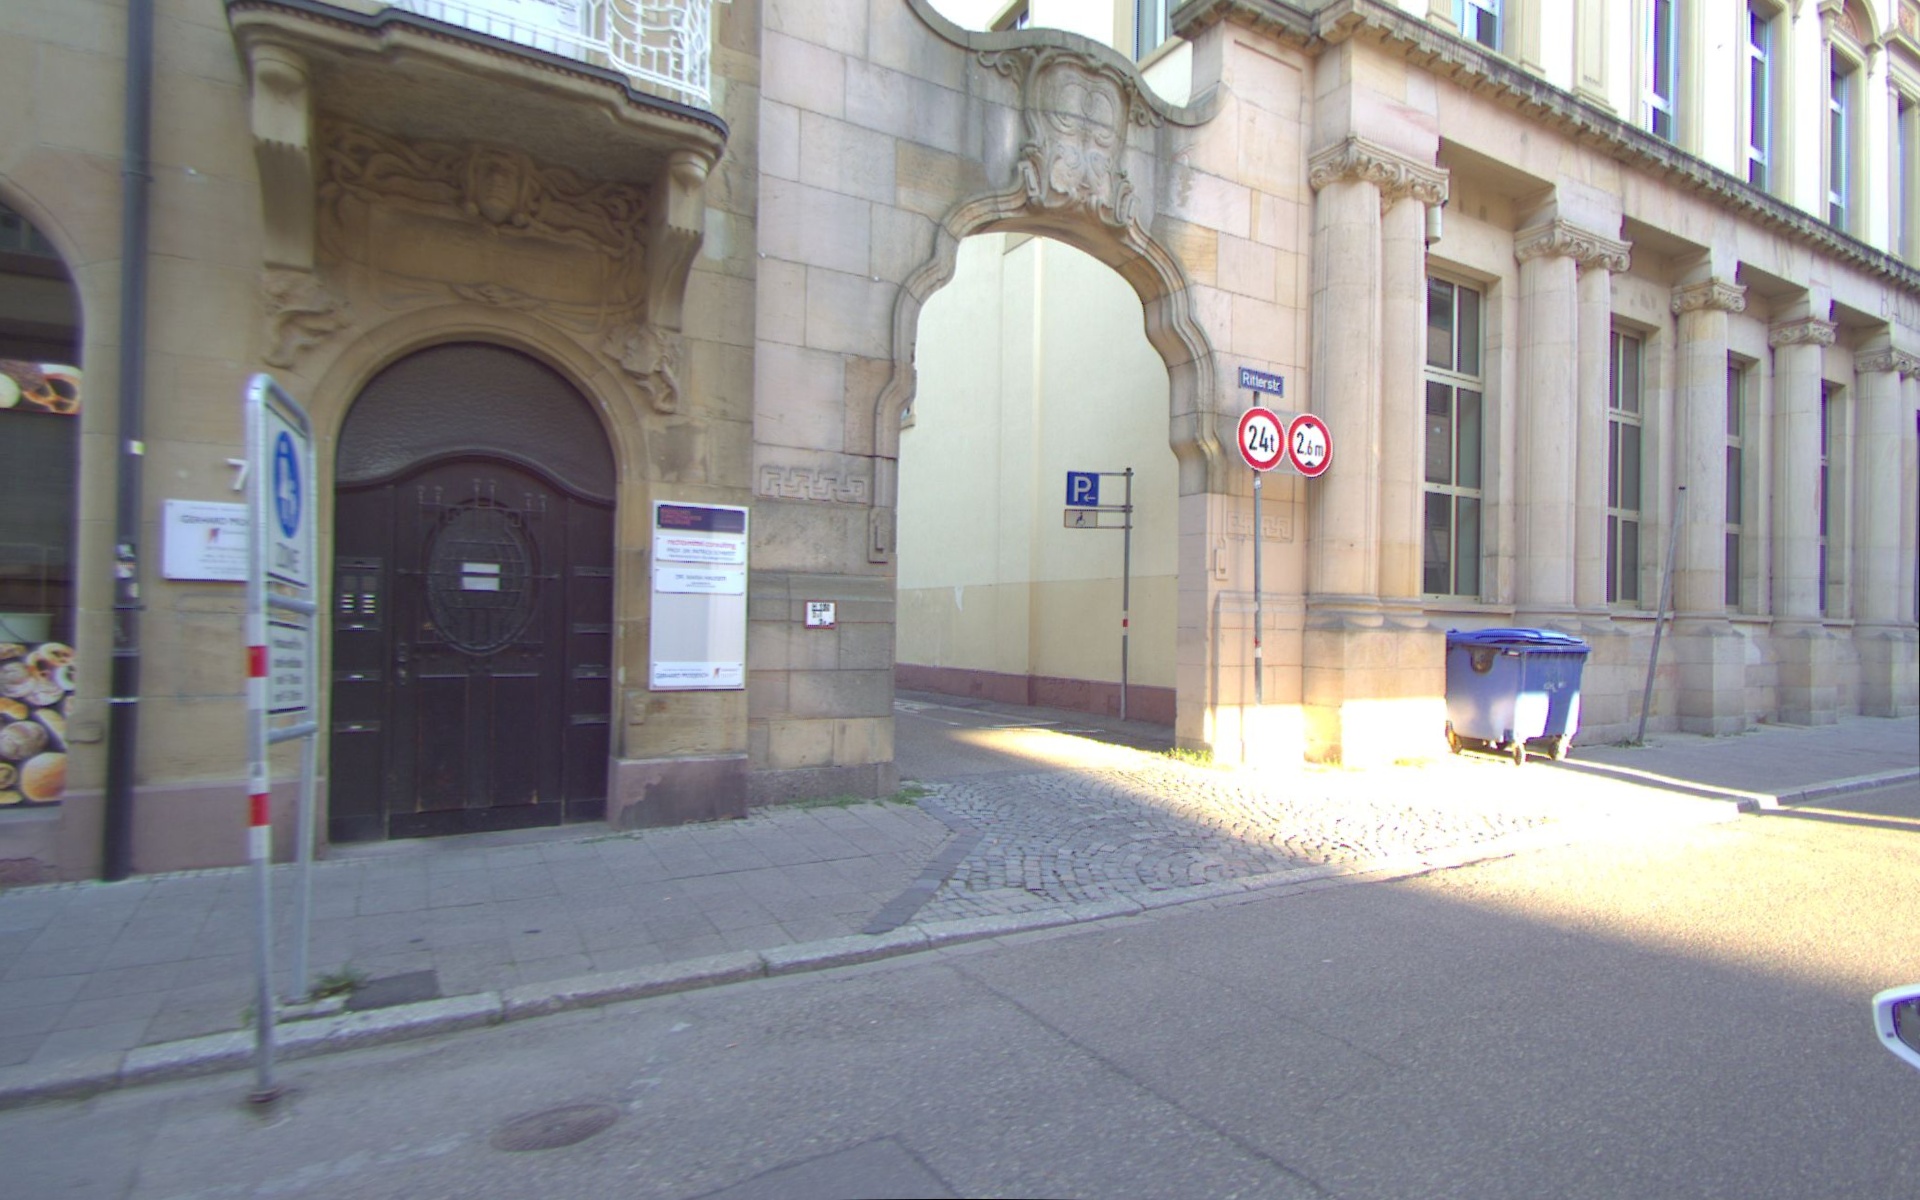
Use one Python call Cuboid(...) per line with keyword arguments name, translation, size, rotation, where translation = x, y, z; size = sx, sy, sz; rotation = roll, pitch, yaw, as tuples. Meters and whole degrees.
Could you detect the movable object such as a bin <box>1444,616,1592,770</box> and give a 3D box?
Cuboid(name="movable object such as a bin", translation=(5.925, 0.947, 10.679), size=(1.275, 1.523, 0.825), rotation=(1, 0, -29))
